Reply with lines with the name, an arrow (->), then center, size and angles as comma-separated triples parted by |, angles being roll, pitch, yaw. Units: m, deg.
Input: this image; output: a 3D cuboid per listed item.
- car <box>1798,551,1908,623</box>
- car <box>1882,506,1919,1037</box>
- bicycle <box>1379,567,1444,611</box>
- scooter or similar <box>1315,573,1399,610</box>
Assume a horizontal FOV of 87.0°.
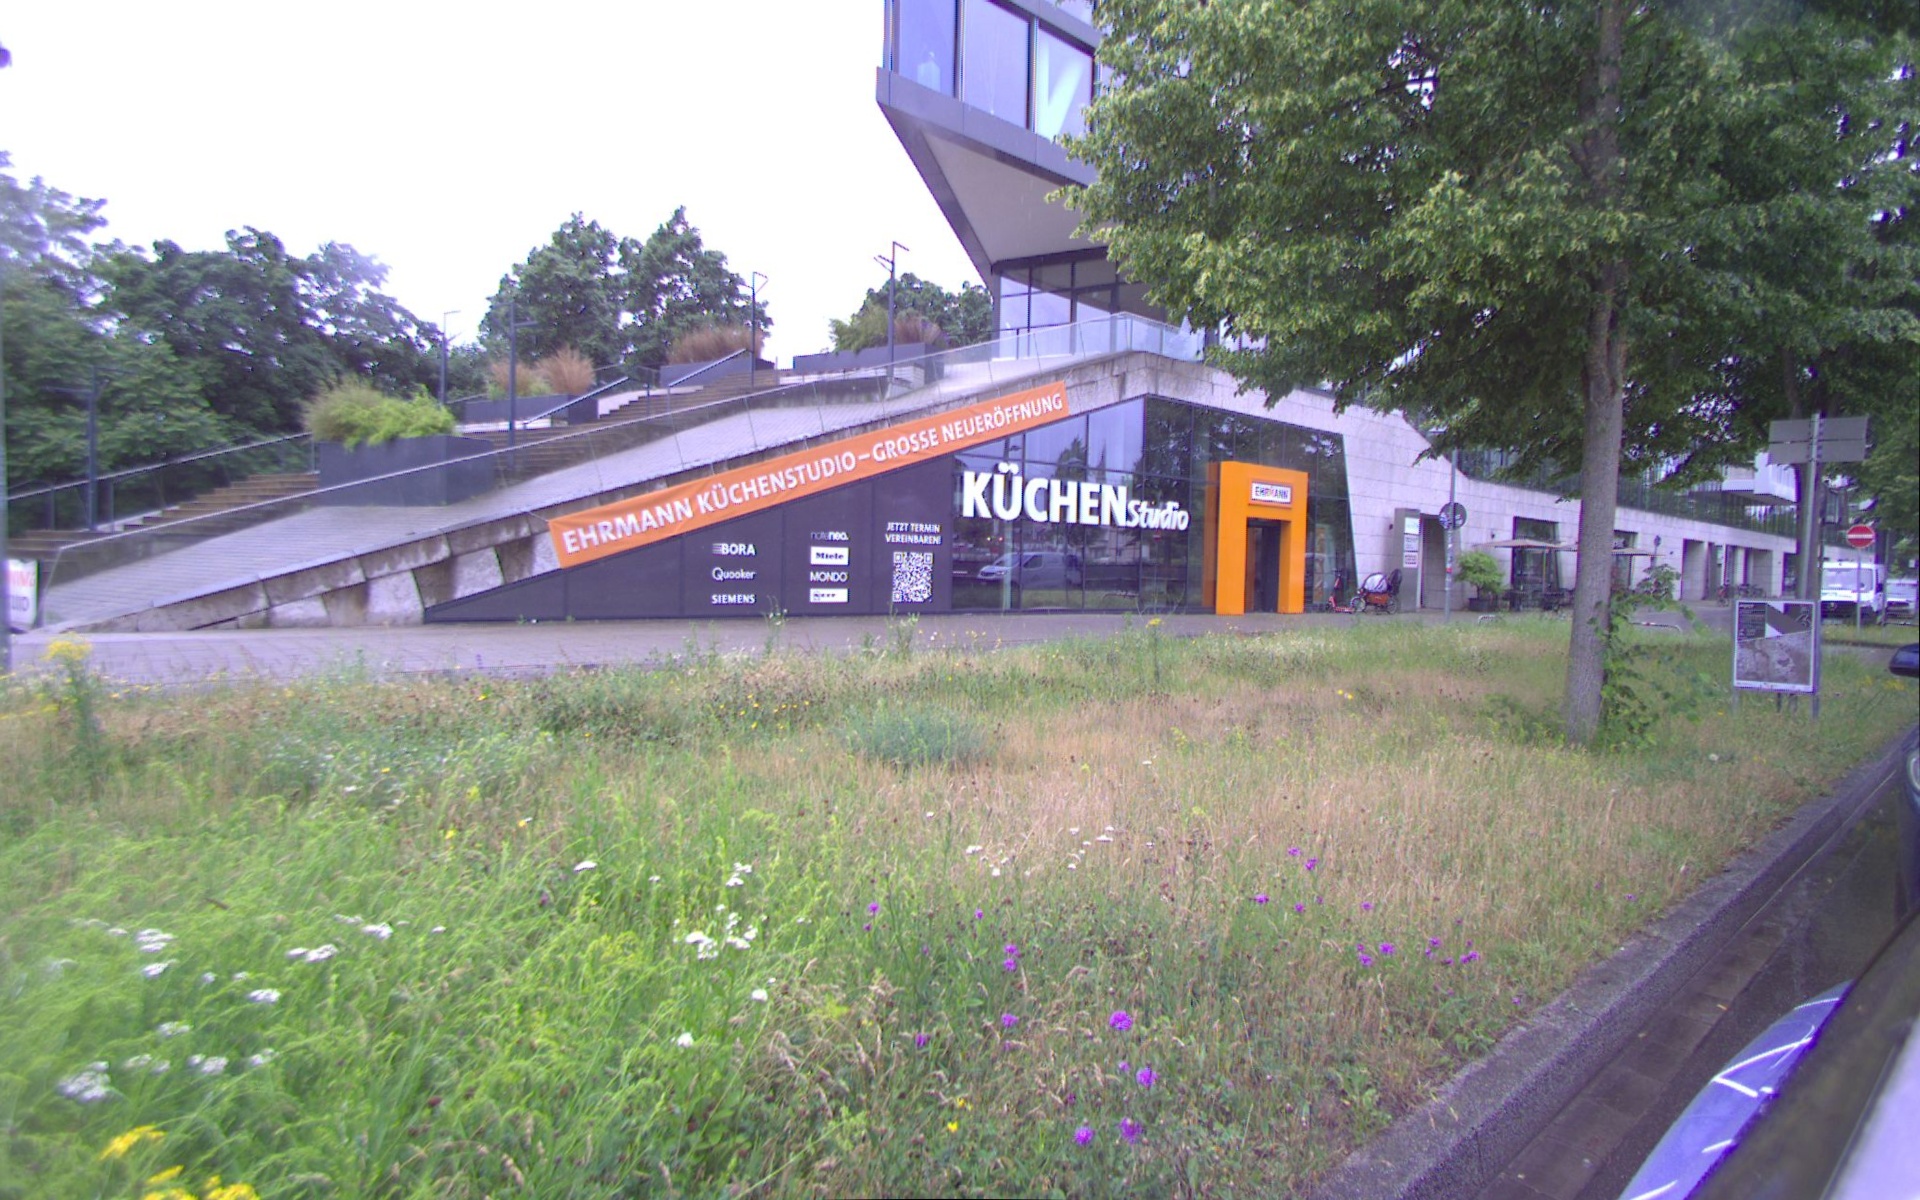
car -> 29.589, -0.427, 33.481 | 5.008, 2.229, 2.083 | -1, 0, -41
car -> 5.388, 0.609, 4.131 | 4.306, 1.769, 1.915 | 1, -1, -41
bicycle -> 14.582, -0.353, 32.680 | 2.650, 1.364, 0.882 | -1, 0, -41
scooter or similar -> 12.147, -0.264, 30.963 | 2.560, 1.113, 0.814 | -1, 0, -23
